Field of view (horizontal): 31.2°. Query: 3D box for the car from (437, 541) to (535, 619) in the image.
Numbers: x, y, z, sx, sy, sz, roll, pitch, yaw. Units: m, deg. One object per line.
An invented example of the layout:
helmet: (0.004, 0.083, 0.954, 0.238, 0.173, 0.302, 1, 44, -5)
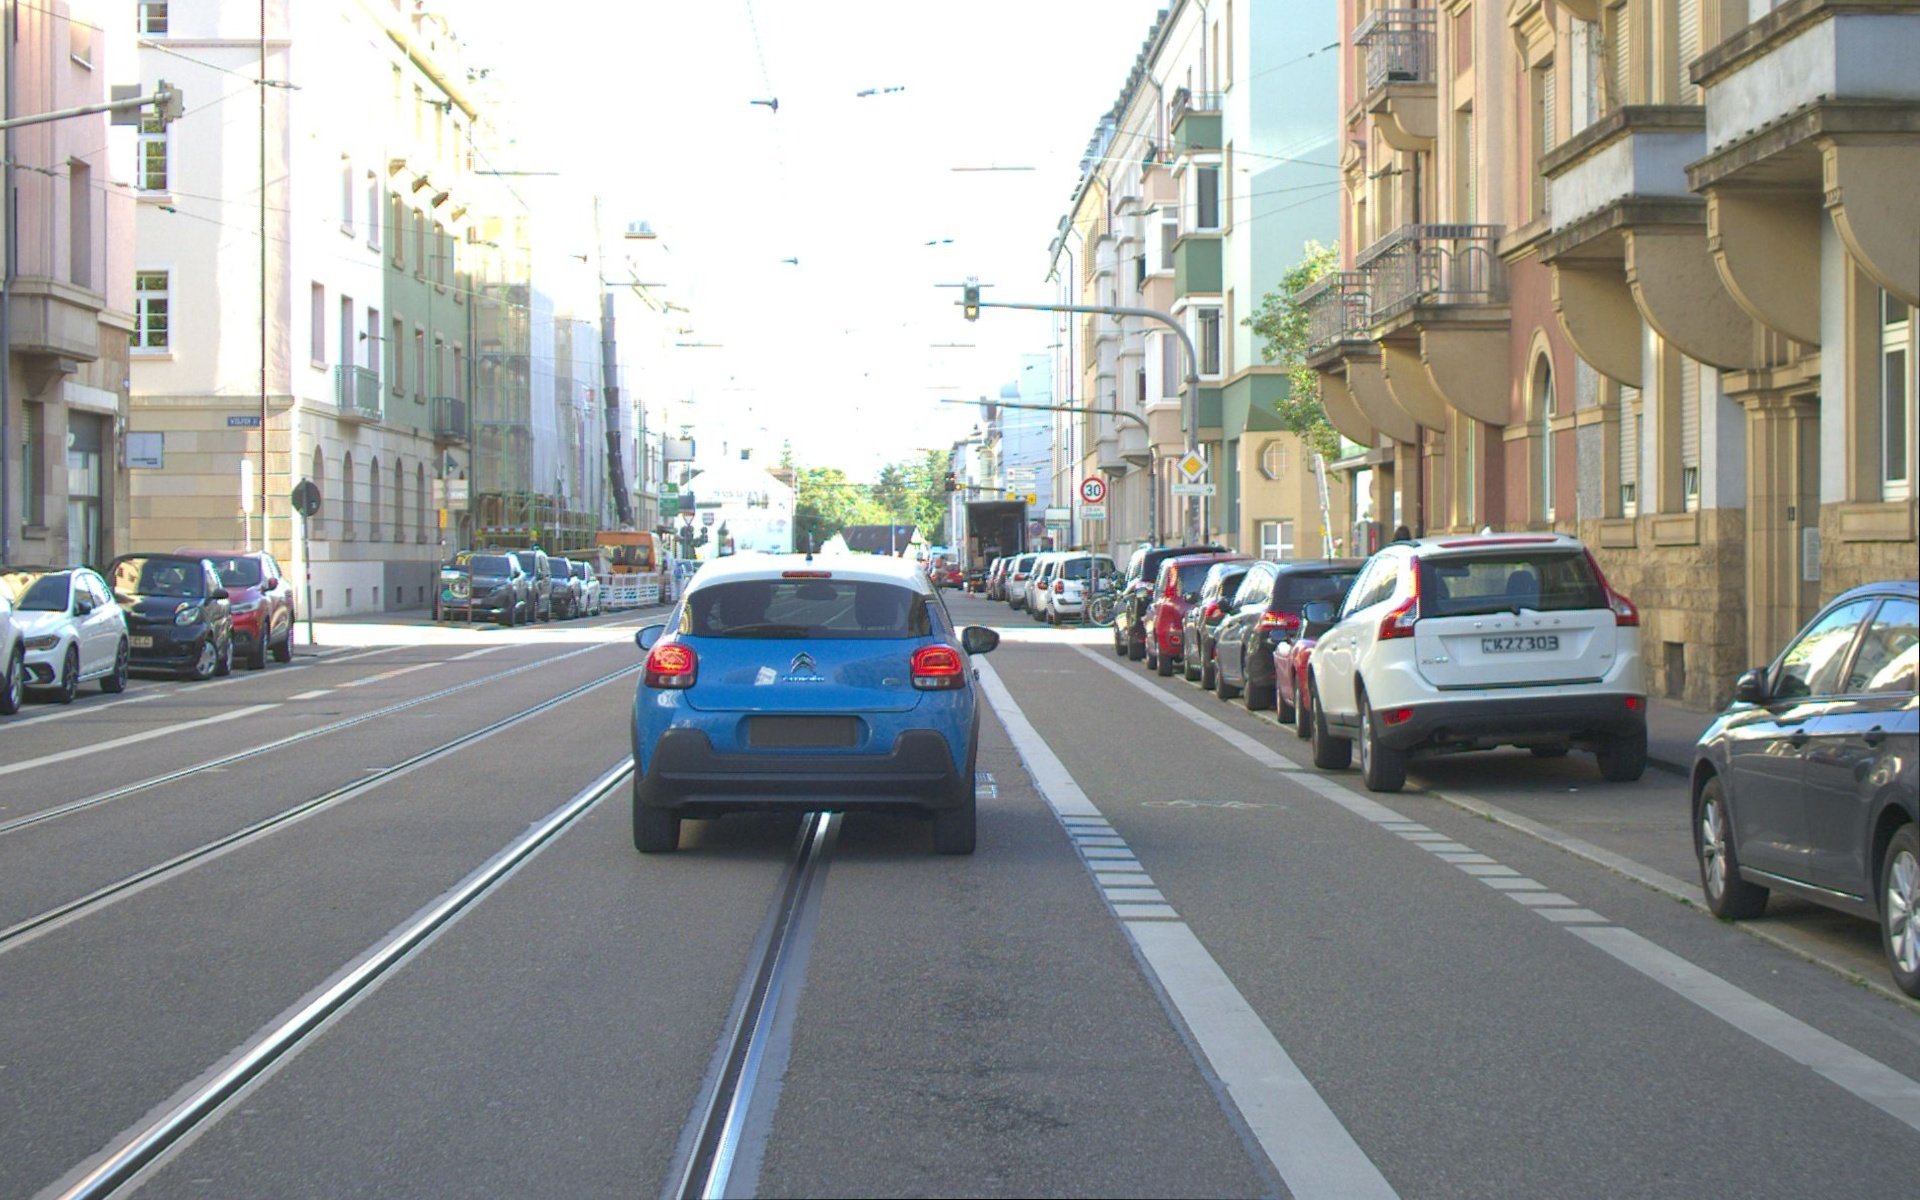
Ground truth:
car: (-10.838, -0.480, 78.840, 1.783, 1.684, 4.668, 2, 1, -3)

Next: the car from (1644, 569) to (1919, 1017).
car: (3.931, 0.610, 13.100, 1.737, 1.437, 4.033, 0, 1, -2)

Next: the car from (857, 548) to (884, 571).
car: (-6.162, -2.791, 236.871, 1.826, 1.626, 4.490, 0, 1, 0)

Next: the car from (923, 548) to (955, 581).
car: (-1.492, -2.478, 241.954, 2.220, 2.276, 4.084, 0, 1, 0)

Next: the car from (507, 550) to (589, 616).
car: (-10.803, -0.462, 90.425, 1.783, 1.621, 4.610, 2, 1, -3)

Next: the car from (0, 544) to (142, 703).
car: (-10.374, 0.214, 38.048, 1.783, 1.616, 4.180, 2, 1, -3)

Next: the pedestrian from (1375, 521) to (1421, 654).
pedestrian: (5.558, -0.157, 43.625, 0.513, 1.681, 0.448, 0, 1, -1)

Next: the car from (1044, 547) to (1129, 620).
car: (2.876, -0.385, 78.835, 1.783, 1.626, 4.000, 0, 1, 0)

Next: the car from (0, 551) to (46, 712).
car: (-10.119, 0.291, 32.838, 1.771, 1.541, 4.366, 2, 1, -3)

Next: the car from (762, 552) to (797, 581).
car: (-10.430, -1.927, 198.559, 1.826, 1.626, 4.490, 0, 1, 0)

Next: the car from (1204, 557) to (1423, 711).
car: (3.572, 0.304, 35.424, 1.654, 1.478, 4.474, 0, 1, -2)

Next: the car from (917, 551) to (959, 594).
car: (-1.007, -1.256, 155.281, 1.821, 1.888, 4.000, 1, 1, -1)

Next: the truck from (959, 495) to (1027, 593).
truck: (1.422, -2.423, 149.715, 2.853, 4.069, 11.271, 0, 1, 0)

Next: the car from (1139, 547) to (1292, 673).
car: (3.310, 0.097, 45.108, 1.753, 1.589, 3.730, 0, 1, 0)

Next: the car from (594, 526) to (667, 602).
car: (-10.888, -1.199, 113.844, 2.144, 2.467, 4.981, 0, 1, -3)

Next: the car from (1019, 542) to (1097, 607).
car: (2.697, -0.719, 95.519, 1.654, 1.746, 4.604, 0, 1, -5)

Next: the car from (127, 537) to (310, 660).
car: (-10.376, -0.051, 48.399, 1.783, 1.601, 4.398, 2, 1, -3)

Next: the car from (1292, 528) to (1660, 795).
car: (3.473, 0.355, 23.954, 1.843, 1.685, 4.505, 0, 1, -1)

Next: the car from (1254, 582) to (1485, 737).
car: (3.591, 0.480, 30.791, 1.654, 1.245, 4.505, 0, 1, 2)

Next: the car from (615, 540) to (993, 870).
car: (-0.754, 0.466, 18.208, 1.735, 1.502, 3.992, 2, 1, -1)

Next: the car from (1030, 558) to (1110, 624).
car: (2.675, -0.239, 84.478, 1.783, 1.570, 4.326, 0, 1, 0)

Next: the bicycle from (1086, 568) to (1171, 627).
bicycle: (3.597, -0.058, 73.369, 1.722, 1.150, 0.469, -3, 1, 0)

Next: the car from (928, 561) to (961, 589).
car: (-0.839, -1.354, 182.985, 1.765, 1.481, 4.032, 0, 1, 0)

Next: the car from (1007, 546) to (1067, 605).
car: (2.392, -0.775, 107.905, 1.730, 1.821, 4.686, 0, 1, 0)

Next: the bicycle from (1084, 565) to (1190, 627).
bicycle: (3.651, -0.087, 70.980, 2.086, 1.150, 0.848, -3, 1, 0)

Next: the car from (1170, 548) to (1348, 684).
car: (3.464, 0.146, 40.518, 1.654, 1.508, 4.474, 0, 1, -1)

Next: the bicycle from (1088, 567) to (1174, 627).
bicycle: (3.621, -0.066, 72.910, 1.722, 1.150, 0.469, -3, 1, 0)

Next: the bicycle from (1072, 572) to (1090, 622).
bicycle: (2.604, -0.071, 73.932, 0.353, 1.041, 1.728, 0, 1, 1)

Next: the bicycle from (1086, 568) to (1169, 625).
bicycle: (3.636, -0.077, 74.759, 1.722, 1.150, 0.469, -3, 1, 0)

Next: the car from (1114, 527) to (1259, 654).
car: (3.348, -0.163, 51.591, 1.753, 1.730, 4.507, -3, 1, 0)

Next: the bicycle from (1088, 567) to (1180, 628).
bicycle: (3.621, -0.061, 71.672, 1.842, 1.150, 0.469, -3, 1, 0)

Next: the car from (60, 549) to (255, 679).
car: (-10.211, 0.148, 43.940, 1.783, 1.547, 3.019, 2, 1, -1)
